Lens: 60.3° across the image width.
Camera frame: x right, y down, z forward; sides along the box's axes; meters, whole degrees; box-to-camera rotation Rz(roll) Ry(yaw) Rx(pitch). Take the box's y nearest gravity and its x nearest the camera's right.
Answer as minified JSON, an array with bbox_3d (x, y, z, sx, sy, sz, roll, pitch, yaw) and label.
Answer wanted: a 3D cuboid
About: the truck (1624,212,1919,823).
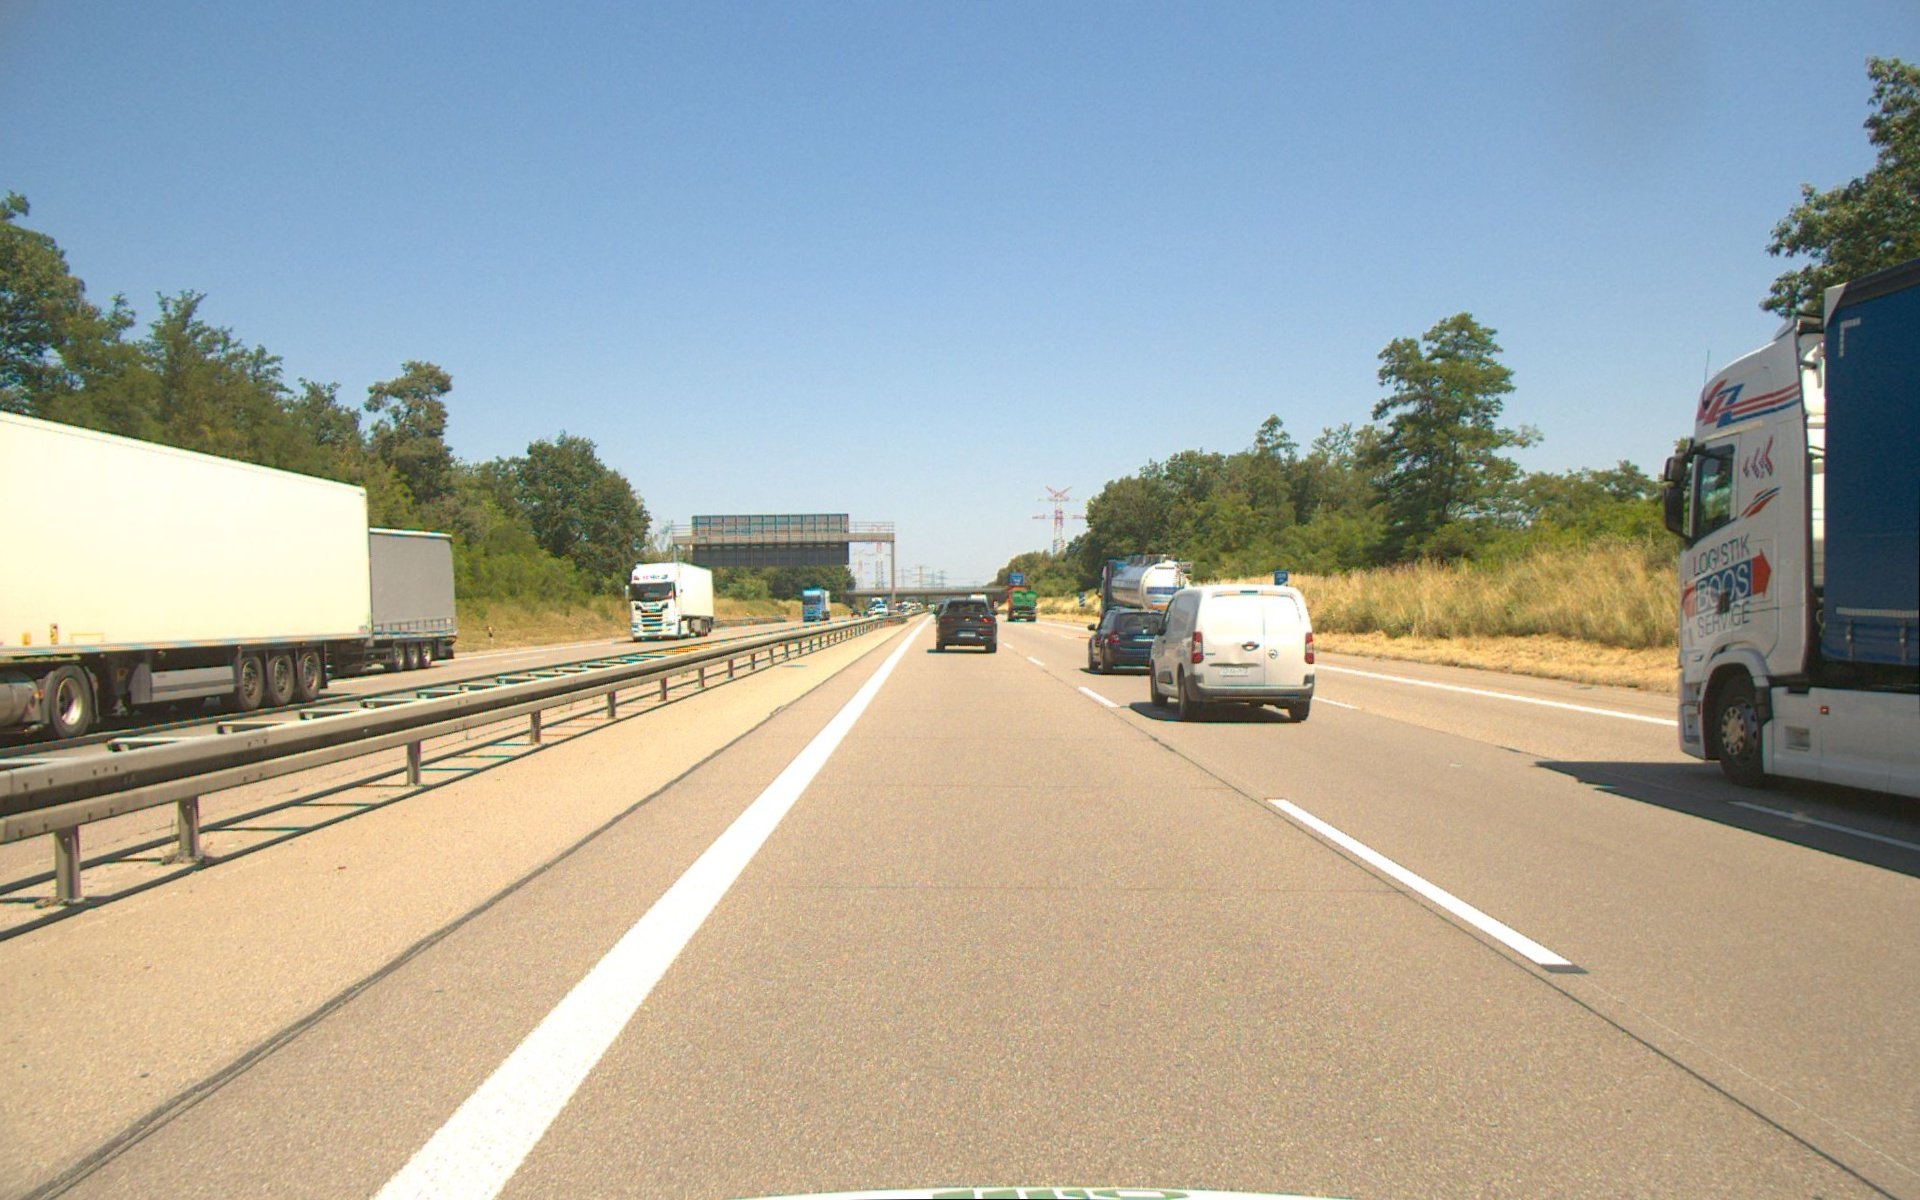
[{"bbox_3d":[8.297,-0.554,13.501,3.219,4.293,6.006,1,0,-1],"label":"truck"}]

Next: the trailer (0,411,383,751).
[{"bbox_3d":[-12.714,-0.182,26.288,2.615,4.059,13.127,-2,0,-1],"label":"trailer"}]

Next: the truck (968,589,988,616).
[{"bbox_3d":[2.000,0.311,185.311,2.018,2.965,7.001,0,0,-1],"label":"truck"}]

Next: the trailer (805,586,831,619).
[{"bbox_3d":[-18.902,0.314,220.207,2.647,4.259,10.763,-2,0,-1],"label":"trailer"}]

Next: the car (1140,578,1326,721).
[{"bbox_3d":[3.850,0.650,24.178,1.777,1.859,5.109,0,0,-1],"label":"car"}]

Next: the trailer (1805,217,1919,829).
[{"bbox_3d":[8.441,-0.540,6.332,3.219,4.293,13.561,1,0,-1],"label":"trailer"}]

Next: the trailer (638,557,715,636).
[{"bbox_3d":[-16.637,-0.201,97.892,2.647,4.259,12.060,-2,0,-1],"label":"trailer"}]

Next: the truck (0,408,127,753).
[{"bbox_3d":[-12.560,-0.185,19.130,2.615,4.059,6.339,-2,0,-1],"label":"truck"}]

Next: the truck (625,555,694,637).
[{"bbox_3d":[-16.496,-0.209,91.108,2.647,4.259,6.187,-2,0,-1],"label":"truck"}]

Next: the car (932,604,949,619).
[{"bbox_3d":[-1.675,1.007,141.772,1.493,1.274,3.624,0,0,-1],"label":"car"}]

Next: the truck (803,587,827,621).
[{"bbox_3d":[-18.764,0.477,214.458,2.647,4.259,4.721,-2,0,-1],"label":"truck"}]

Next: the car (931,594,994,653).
[{"bbox_3d":[0.023,0.716,54.753,1.901,1.782,5.812,0,1,-2],"label":"car"}]

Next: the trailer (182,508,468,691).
[{"bbox_3d":[-17.263,-0.024,46.629,2.615,4.242,14.592,-2,0,-1],"label":"trailer"}]

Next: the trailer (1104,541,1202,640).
[{"bbox_3d":[8.284,-0.360,72.622,2.628,3.904,12.007,1,0,-1],"label":"trailer"}]

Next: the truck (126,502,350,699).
[{"bbox_3d":[-17.103,0.001,39.646,2.615,4.242,6.187,-2,0,-1],"label":"truck"}]

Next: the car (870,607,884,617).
[{"bbox_3d":[-12.561,1.785,250.436,1.888,1.372,3.564,-2,0,-1],"label":"car"}]

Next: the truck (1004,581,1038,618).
[{"bbox_3d":[6.358,-0.032,174.019,2.928,3.794,10.087,1,0,-1],"label":"truck"}]

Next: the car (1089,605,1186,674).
[{"bbox_3d":[4.057,0.872,38.301,1.738,1.498,3.871,0,0,-1],"label":"car"}]

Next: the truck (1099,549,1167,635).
[{"bbox_3d":[8.161,-0.352,78.337,2.628,3.904,4.443,1,0,-1],"label":"truck"}]
